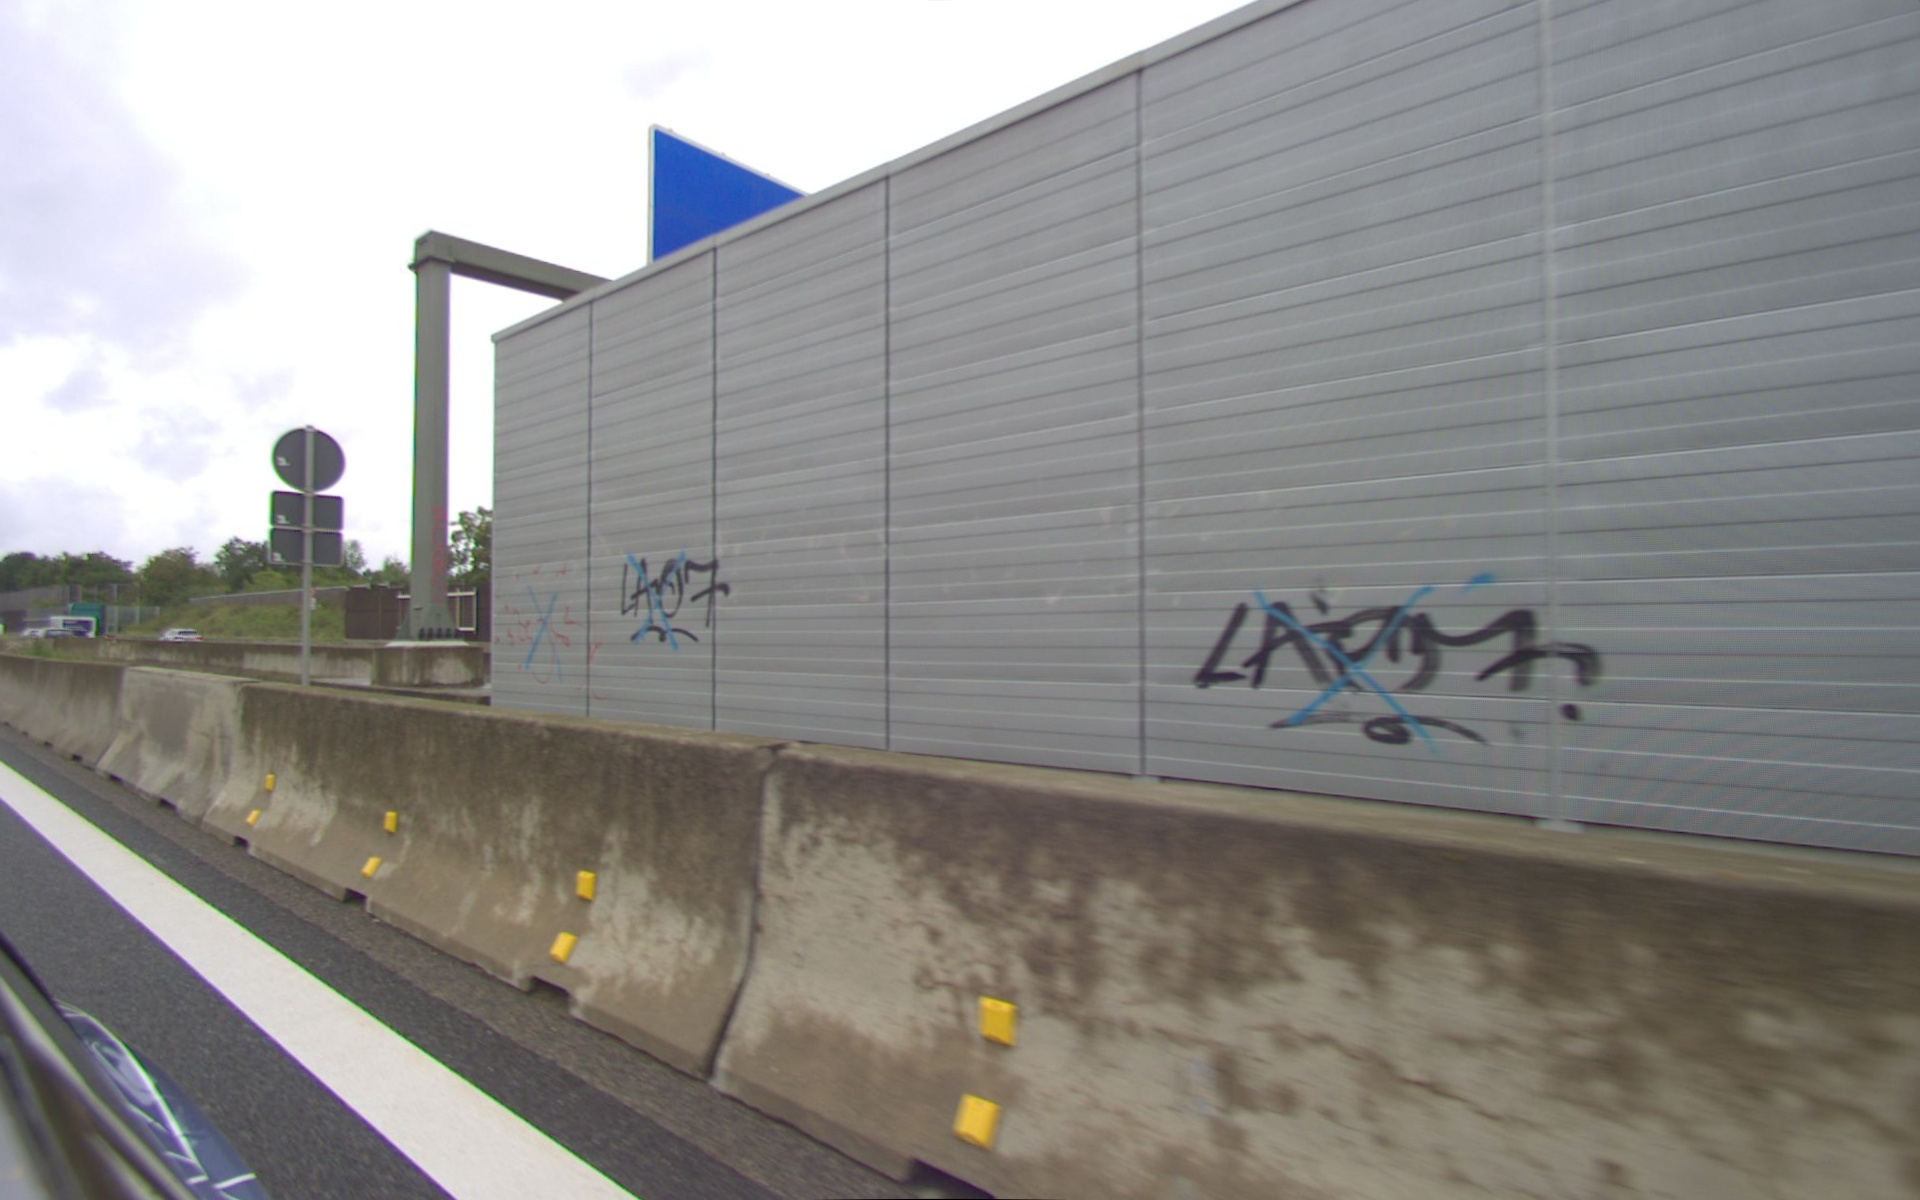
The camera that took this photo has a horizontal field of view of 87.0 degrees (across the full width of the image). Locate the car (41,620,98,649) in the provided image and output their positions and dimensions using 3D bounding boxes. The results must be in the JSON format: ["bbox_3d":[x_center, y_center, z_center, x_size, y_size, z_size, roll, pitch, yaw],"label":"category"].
[{"bbox_3d":[-65.423,2.532,74.298,7.054,2.029,2.191,-2,-1,41],"label":"car"}]

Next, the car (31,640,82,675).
[{"bbox_3d":[-53.791,3.390,60.246,3.999,1.936,1.849,-2,-1,42],"label":"car"}]

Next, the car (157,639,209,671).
[{"bbox_3d":[-52.391,3.681,68.207,3.996,1.996,1.974,-2,-1,40],"label":"car"}]

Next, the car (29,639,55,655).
[{"bbox_3d":[-96.324,4.916,106.195,3.294,1.502,1.635,-1,0,41],"label":"car"}]

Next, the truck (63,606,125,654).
[{"bbox_3d":[-74.694,2.556,87.264,7.516,3.867,2.834,-1,0,40],"label":"truck"}]

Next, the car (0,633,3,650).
[{"bbox_3d":[-116.155,4.938,121.067,5.949,2.029,1.887,-2,-1,41],"label":"car"}]
